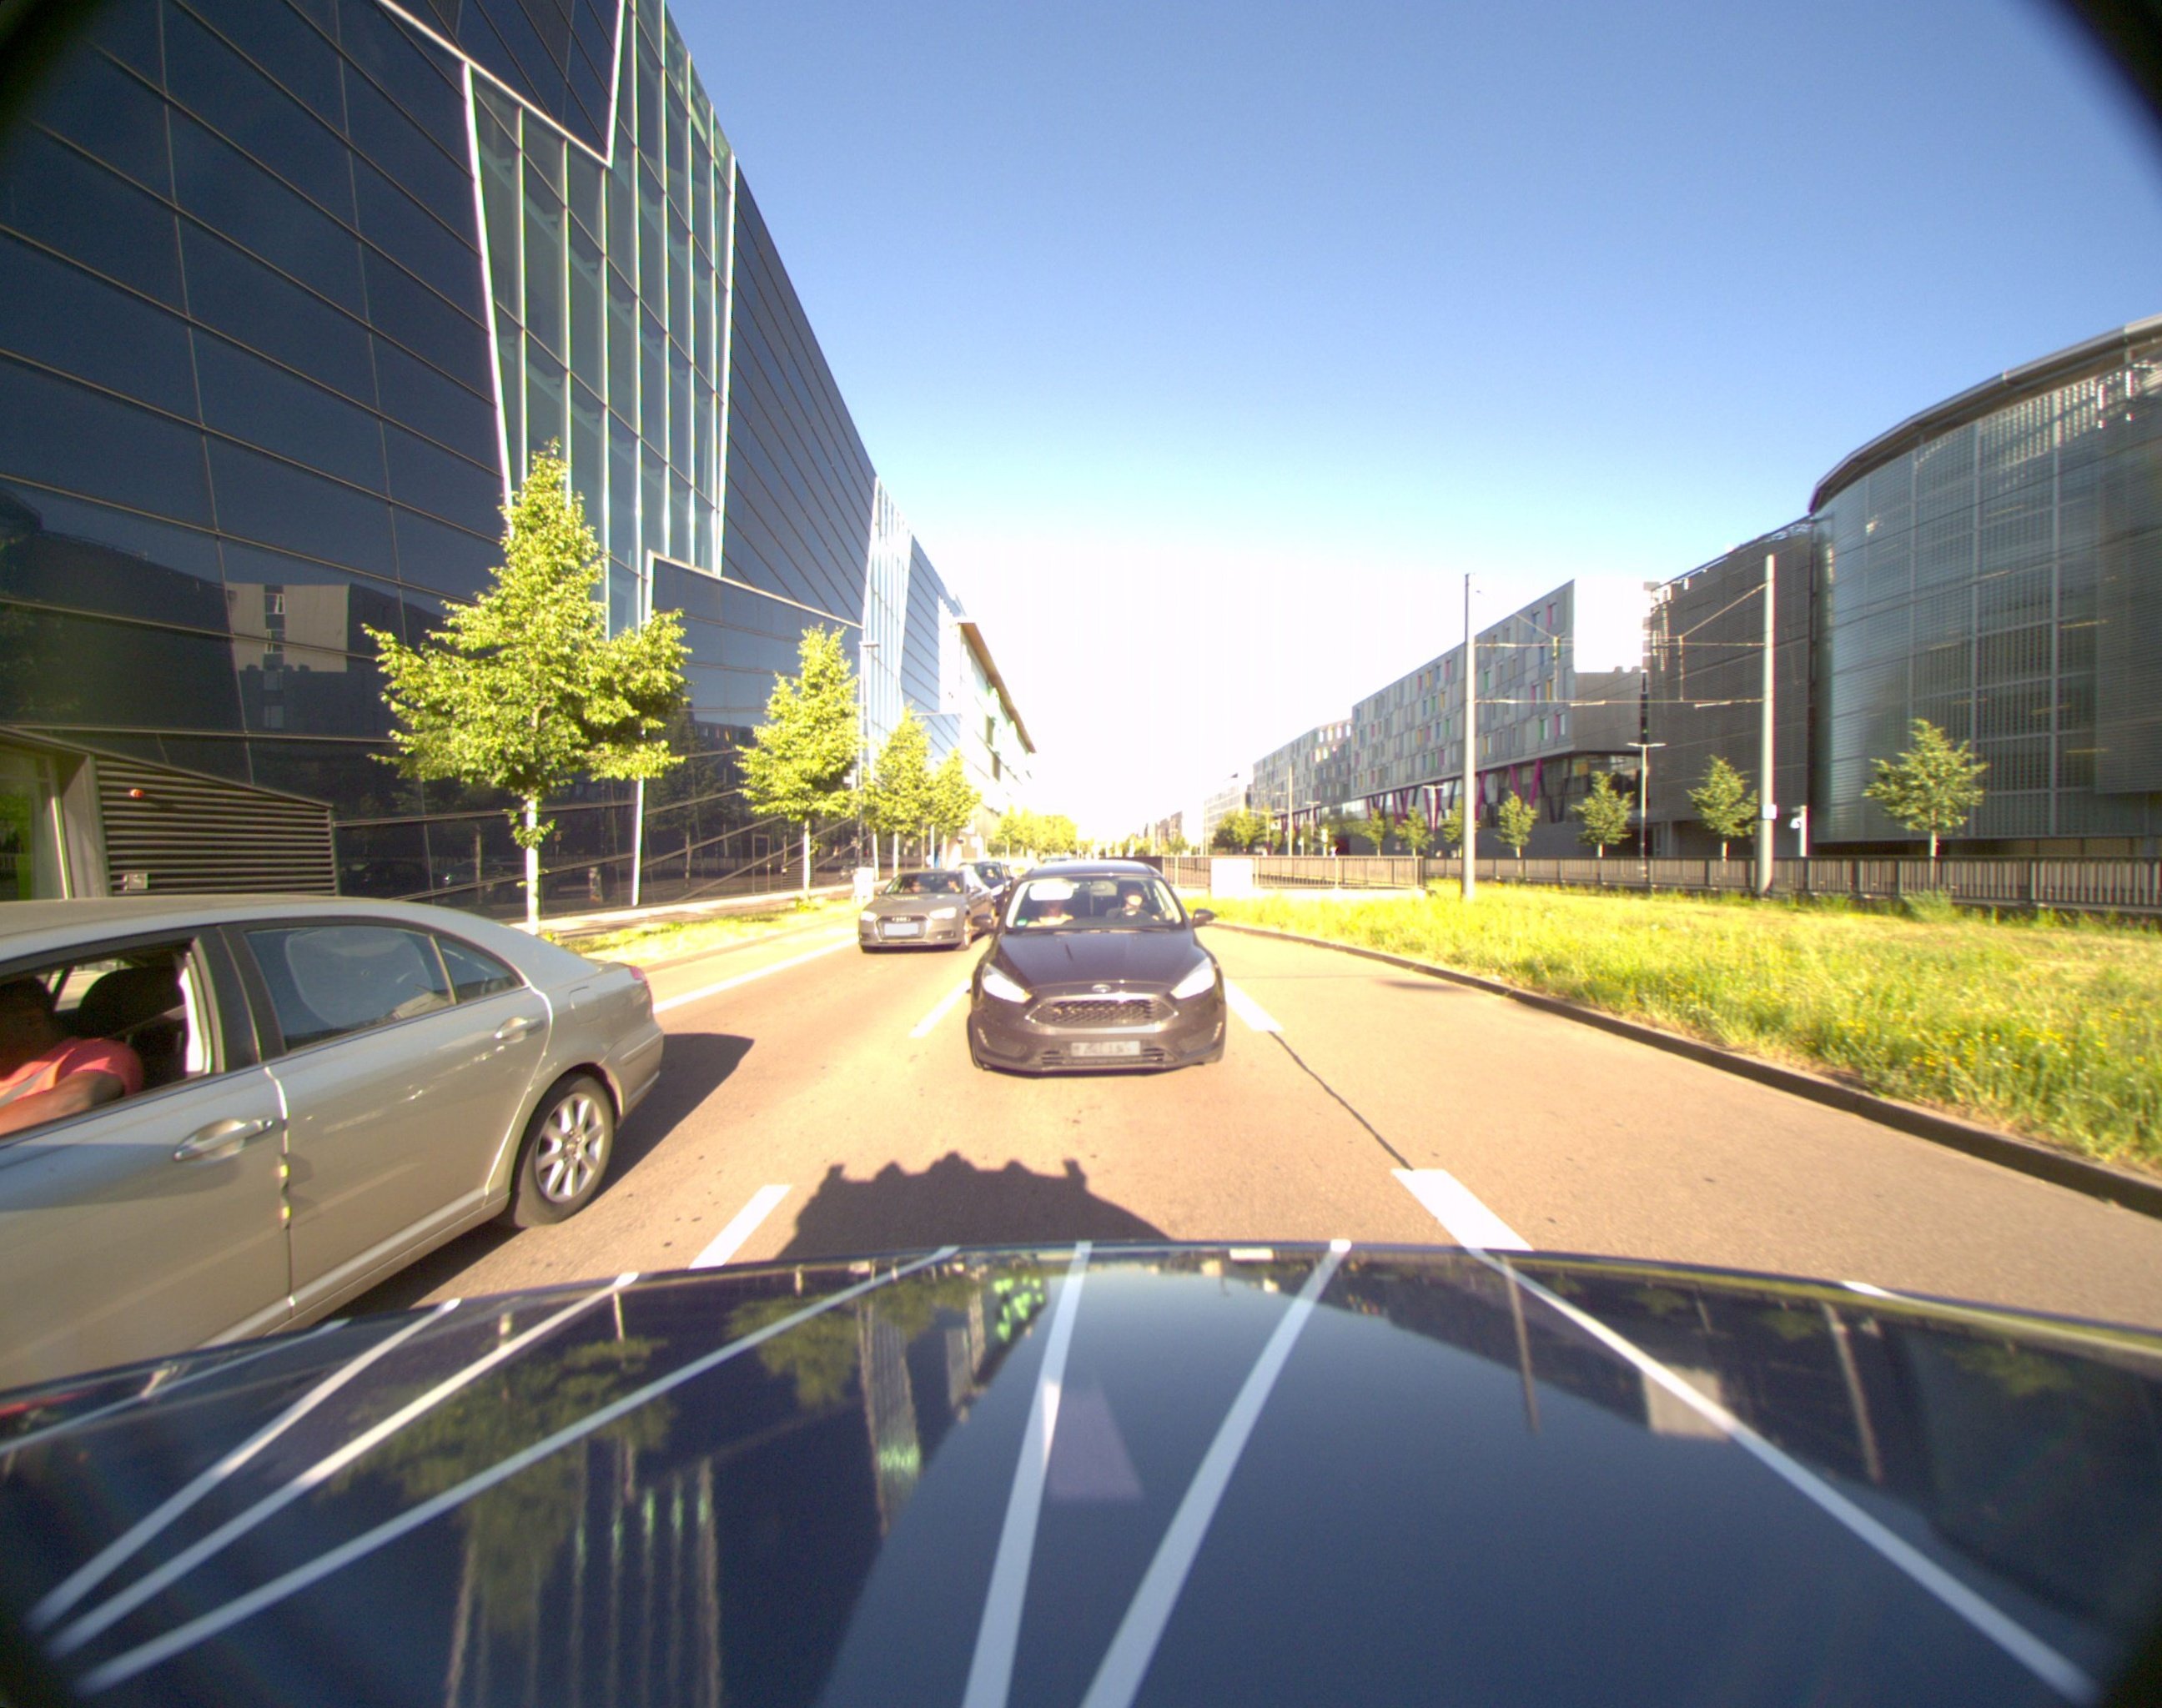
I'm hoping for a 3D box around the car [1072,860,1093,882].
[{"bbox_3d":[0.173,1.689,77.760,1.998,2.002,3.999,-2,1,1],"label":"car"}]

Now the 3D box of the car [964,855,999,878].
[{"bbox_3d":[-6.988,0.876,53.687,1.740,1.489,4.715,2,0,0],"label":"car"}]

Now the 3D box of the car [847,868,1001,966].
[{"bbox_3d":[-2.669,1.023,13.966,1.750,1.384,4.264,-1,1,2],"label":"car"}]

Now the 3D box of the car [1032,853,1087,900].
[{"bbox_3d":[-0.728,0.774,28.605,1.907,1.612,4.000,0,1,1],"label":"car"}]

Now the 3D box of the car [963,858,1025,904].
[{"bbox_3d":[-3.020,0.899,27.076,1.753,1.469,3.418,-1,0,0],"label":"car"}]

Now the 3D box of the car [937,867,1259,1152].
[{"bbox_3d":[0.113,0.917,6.588,1.787,1.499,4.590,-1,0,0],"label":"car"}]

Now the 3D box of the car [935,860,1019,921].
[{"bbox_3d":[-2.808,0.946,21.362,1.753,1.469,3.971,-1,0,0],"label":"car"}]

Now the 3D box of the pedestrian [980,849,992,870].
[{"bbox_3d":[-8.539,0.486,68.430,0.828,1.814,0.905,3,1,0],"label":"pedestrian"}]

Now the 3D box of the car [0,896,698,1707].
[{"bbox_3d":[-3.061,0.994,1.914,1.750,1.473,4.628,0,1,1],"label":"car"}]
